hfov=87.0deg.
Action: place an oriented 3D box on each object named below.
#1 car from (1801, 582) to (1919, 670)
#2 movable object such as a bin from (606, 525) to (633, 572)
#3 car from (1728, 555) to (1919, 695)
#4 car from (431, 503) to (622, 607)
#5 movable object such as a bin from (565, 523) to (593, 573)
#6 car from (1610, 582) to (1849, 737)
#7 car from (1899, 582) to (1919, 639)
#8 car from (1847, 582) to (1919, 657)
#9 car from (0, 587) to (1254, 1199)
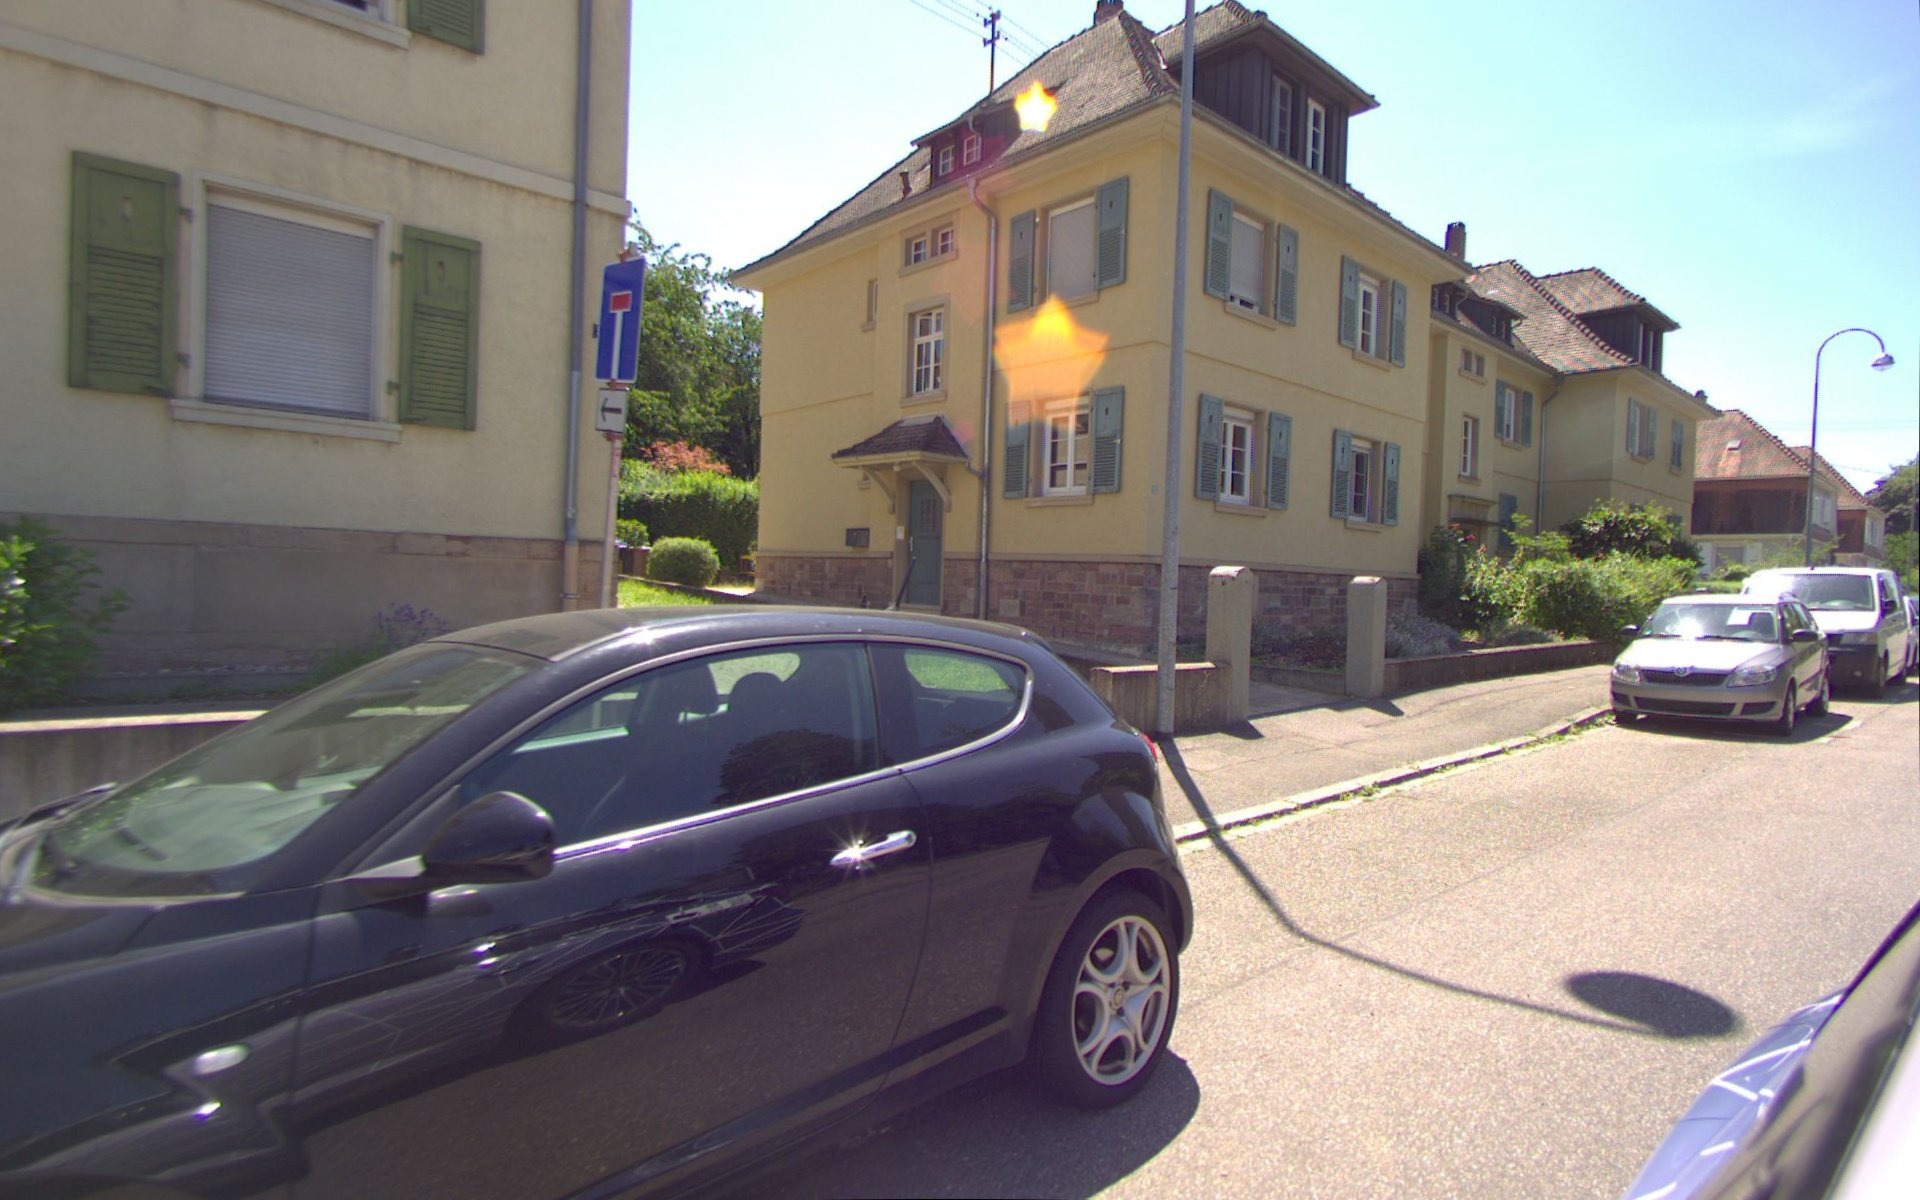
[{"bbox_3d":[17.841,0.423,19.603,4.264,1.533,1.804,-1,1,-42],"label":"car"},{"bbox_3d":[-7.858,-1.182,23.339,0.463,1.069,0.482,-1,0,-36],"label":"movable object such as a bin"},{"bbox_3d":[13.742,0.297,15.920,4.611,1.892,1.850,-1,1,-42],"label":"car"},{"bbox_3d":[-7.133,-0.781,16.441,1.768,1.409,3.998,1,4,-40],"label":"car"},{"bbox_3d":[-8.486,-1.163,22.539,0.463,1.068,0.482,-1,6,-36],"label":"movable object such as a bin"},{"bbox_3d":[9.154,0.567,11.920,3.933,1.522,1.598,-1,0,-43],"label":"car"},{"bbox_3d":[28.040,0.256,28.627,4.264,1.533,1.804,-1,1,-42],"label":"car"},{"bbox_3d":[21.277,0.372,22.555,4.264,1.533,1.804,-1,1,-42],"label":"car"},{"bbox_3d":[-1.001,0.712,2.618,3.933,1.448,1.598,-1,1,-43],"label":"car"}]
